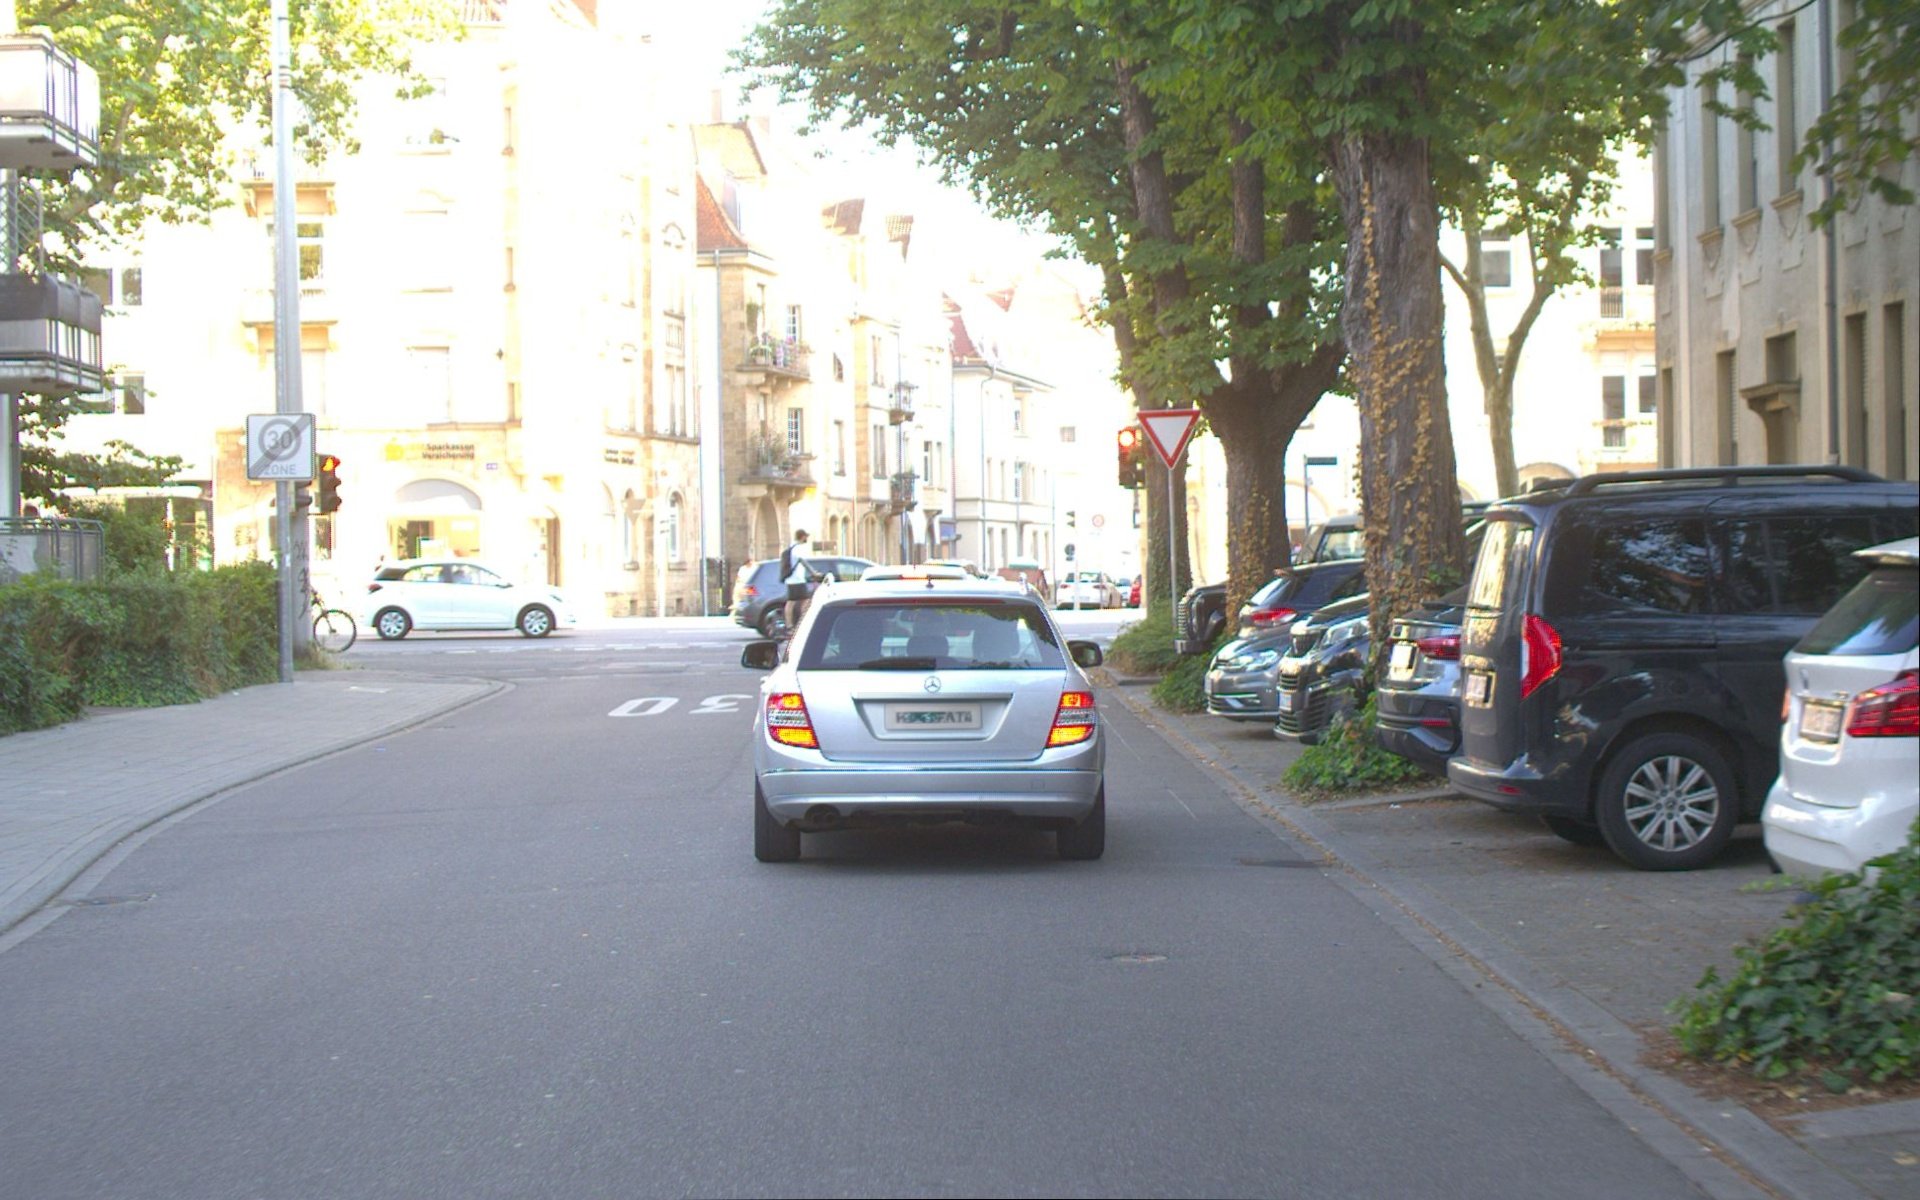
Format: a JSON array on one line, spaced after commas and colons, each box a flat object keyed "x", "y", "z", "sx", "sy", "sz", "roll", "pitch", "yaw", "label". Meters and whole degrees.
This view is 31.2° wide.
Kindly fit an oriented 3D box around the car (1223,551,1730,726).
[{"x": 4.643, "y": 0.327, "z": 31.348, "sx": 4.287, "sy": 1.535, "sz": 1.899, "roll": 0, "pitch": 1, "yaw": -2, "label": "car"}]

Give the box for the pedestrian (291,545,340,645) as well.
[{"x": -10.671, "y": -0.082, "z": 56.924, "sx": 0.769, "sy": 1.640, "sz": 0.505, "roll": 0, "pitch": 1, "yaw": -8, "label": "pedestrian"}]

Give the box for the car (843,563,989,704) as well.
[{"x": -0.480, "y": 0.352, "z": 40.370, "sx": 1.623, "sy": 1.564, "sz": 3.680, "roll": 0, "pitch": 1, "yaw": 1, "label": "car"}]

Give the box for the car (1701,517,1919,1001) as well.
[{"x": 4.885, "y": 0.464, "z": 12.101, "sx": 4.110, "sy": 1.566, "sz": 1.877, "roll": -2, "pitch": 0, "yaw": 0, "label": "car"}]

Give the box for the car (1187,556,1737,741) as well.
[{"x": 4.160, "y": 0.384, "z": 28.966, "sx": 4.287, "sy": 1.412, "sz": 1.877, "roll": -1, "pitch": 1, "yaw": -2, "label": "car"}]

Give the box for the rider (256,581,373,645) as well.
[{"x": -10.684, "y": 0.212, "z": 56.922, "sx": 1.873, "sy": 1.034, "sz": 0.511, "roll": 0, "pitch": 1, "yaw": -8, "label": "rider"}]

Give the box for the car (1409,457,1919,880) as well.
[{"x": 4.467, "y": 0.281, "z": 16.778, "sx": 4.219, "sy": 1.890, "sz": 1.906, "roll": -1, "pitch": 0, "yaw": -2, "label": "car"}]

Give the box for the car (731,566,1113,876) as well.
[{"x": -0.163, "y": 0.576, "z": 18.194, "sx": 1.784, "sy": 1.432, "sz": 3.850, "roll": 1, "pitch": 0, "yaw": 0, "label": "car"}]

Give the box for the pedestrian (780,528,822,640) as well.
[{"x": -2.691, "y": -0.270, "z": 58.185, "sx": 0.642, "sy": 1.860, "sz": 0.410, "roll": -2, "pitch": 1, "yaw": -4, "label": "pedestrian"}]

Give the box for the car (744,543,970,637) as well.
[{"x": -1.847, "y": -0.178, "z": 60.978, "sx": 3.887, "sy": 1.637, "sz": 1.754, "roll": 0, "pitch": 1, "yaw": -6, "label": "car"}]

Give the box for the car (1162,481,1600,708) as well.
[{"x": 4.456, "y": -0.070, "z": 36.880, "sx": 4.388, "sy": 2.356, "sz": 2.000, "roll": 0, "pitch": 1, "yaw": -2, "label": "car"}]

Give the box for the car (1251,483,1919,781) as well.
[{"x": 4.685, "y": 0.207, "z": 24.037, "sx": 5.053, "sy": 1.982, "sz": 2.072, "roll": 0, "pitch": 1, "yaw": -2, "label": "car"}]

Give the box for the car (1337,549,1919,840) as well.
[{"x": 4.383, "y": 0.493, "z": 19.189, "sx": 4.287, "sy": 1.535, "sz": 1.877, "roll": 0, "pitch": 1, "yaw": -2, "label": "car"}]

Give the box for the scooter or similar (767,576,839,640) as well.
[{"x": -2.662, "y": 0.131, "z": 58.192, "sx": 1.175, "sy": 1.048, "sz": 0.409, "roll": -2, "pitch": 1, "yaw": -4, "label": "scooter or similar"}]

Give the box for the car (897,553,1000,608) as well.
[{"x": -0.303, "y": -0.578, "z": 100.537, "sx": 1.995, "sy": 1.579, "sz": 3.997, "roll": 0, "pitch": 1, "yaw": 16, "label": "car"}]

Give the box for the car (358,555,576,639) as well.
[{"x": -9.010, "y": -0.059, "z": 62.864, "sx": 3.887, "sy": 1.510, "sz": 1.708, "roll": 0, "pitch": 1, "yaw": -8, "label": "car"}]
